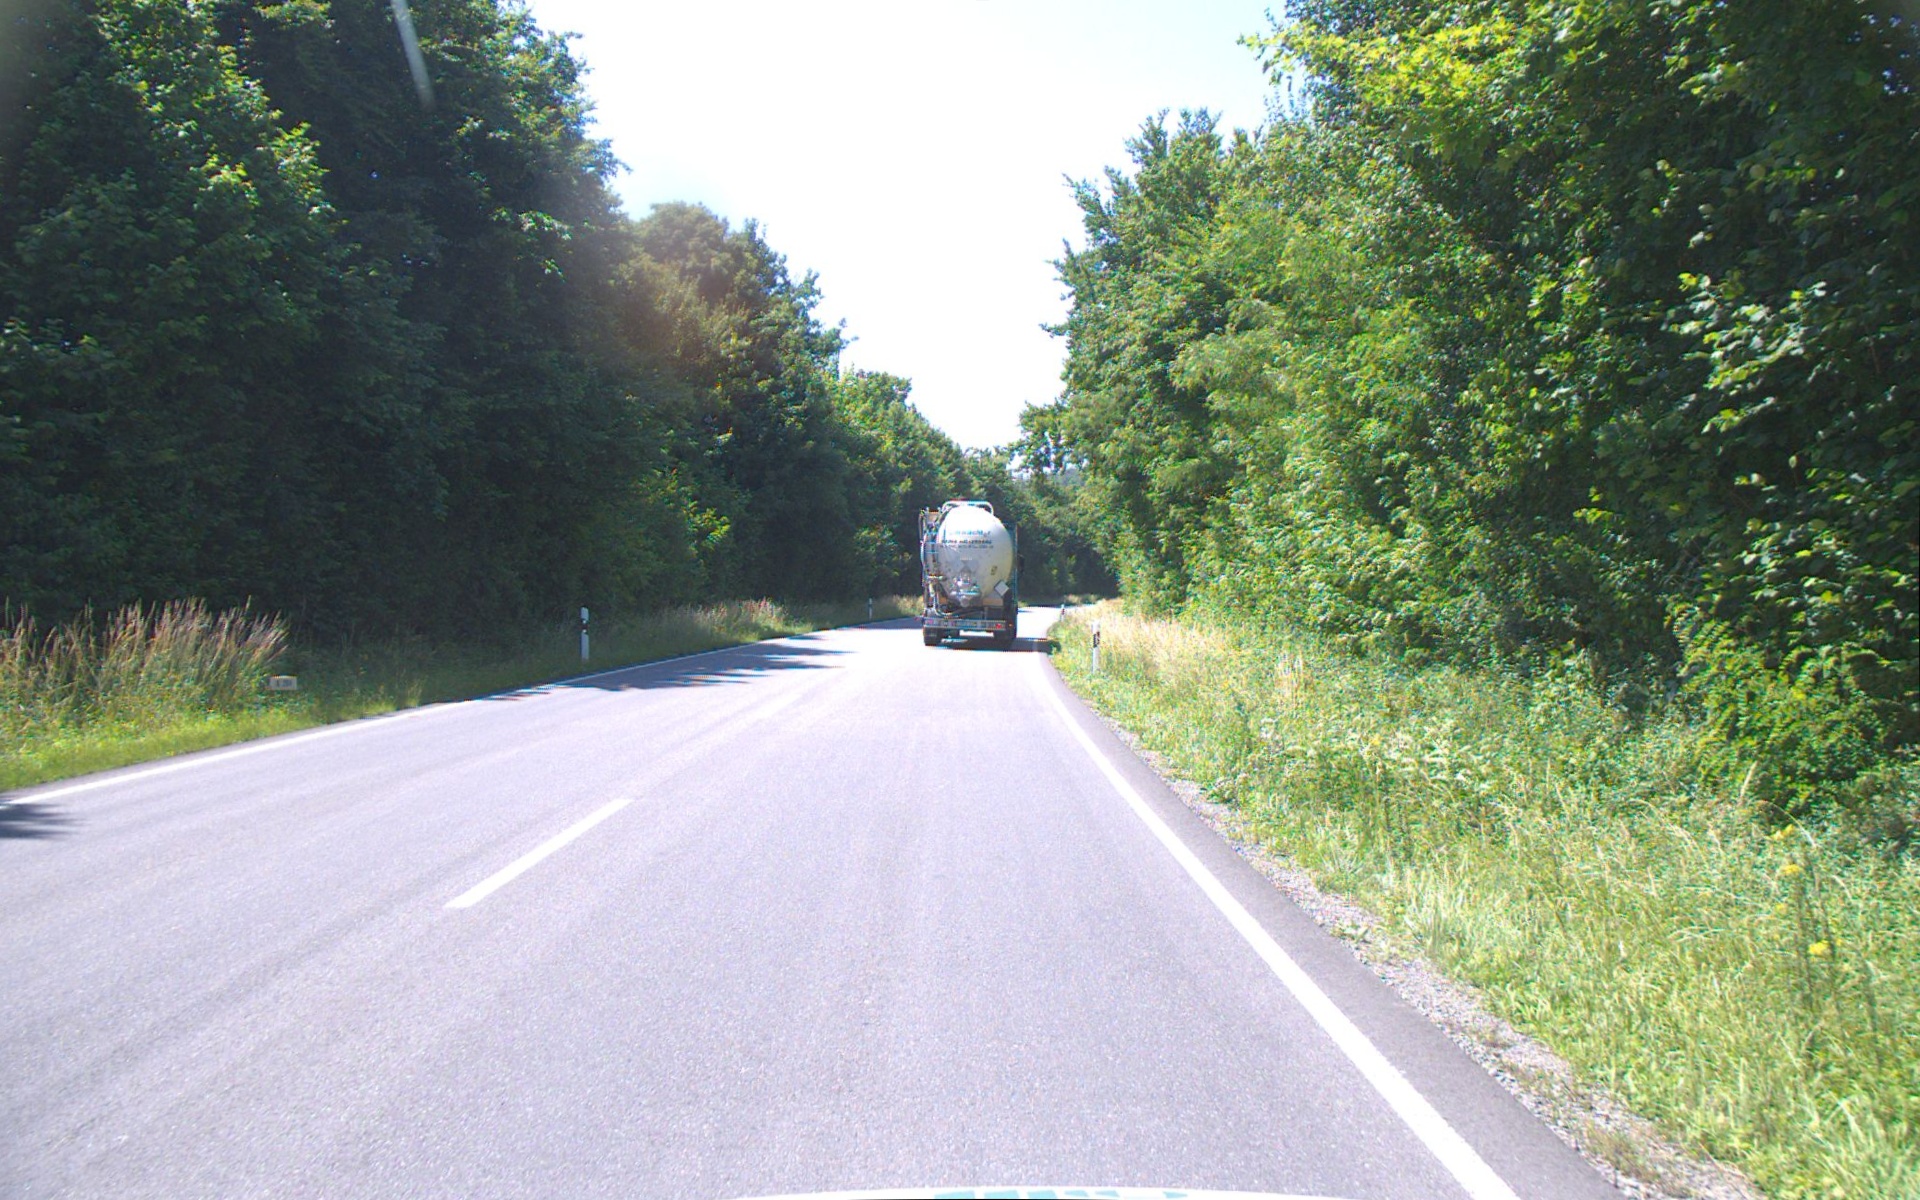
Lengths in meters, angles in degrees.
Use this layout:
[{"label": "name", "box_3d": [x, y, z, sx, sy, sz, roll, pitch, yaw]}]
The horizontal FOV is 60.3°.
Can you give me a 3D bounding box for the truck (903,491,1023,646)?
[{"label": "truck", "box_3d": [0.371, -0.868, 51.673, 2.986, 4.068, 15.642, 1, 0, 3]}]
